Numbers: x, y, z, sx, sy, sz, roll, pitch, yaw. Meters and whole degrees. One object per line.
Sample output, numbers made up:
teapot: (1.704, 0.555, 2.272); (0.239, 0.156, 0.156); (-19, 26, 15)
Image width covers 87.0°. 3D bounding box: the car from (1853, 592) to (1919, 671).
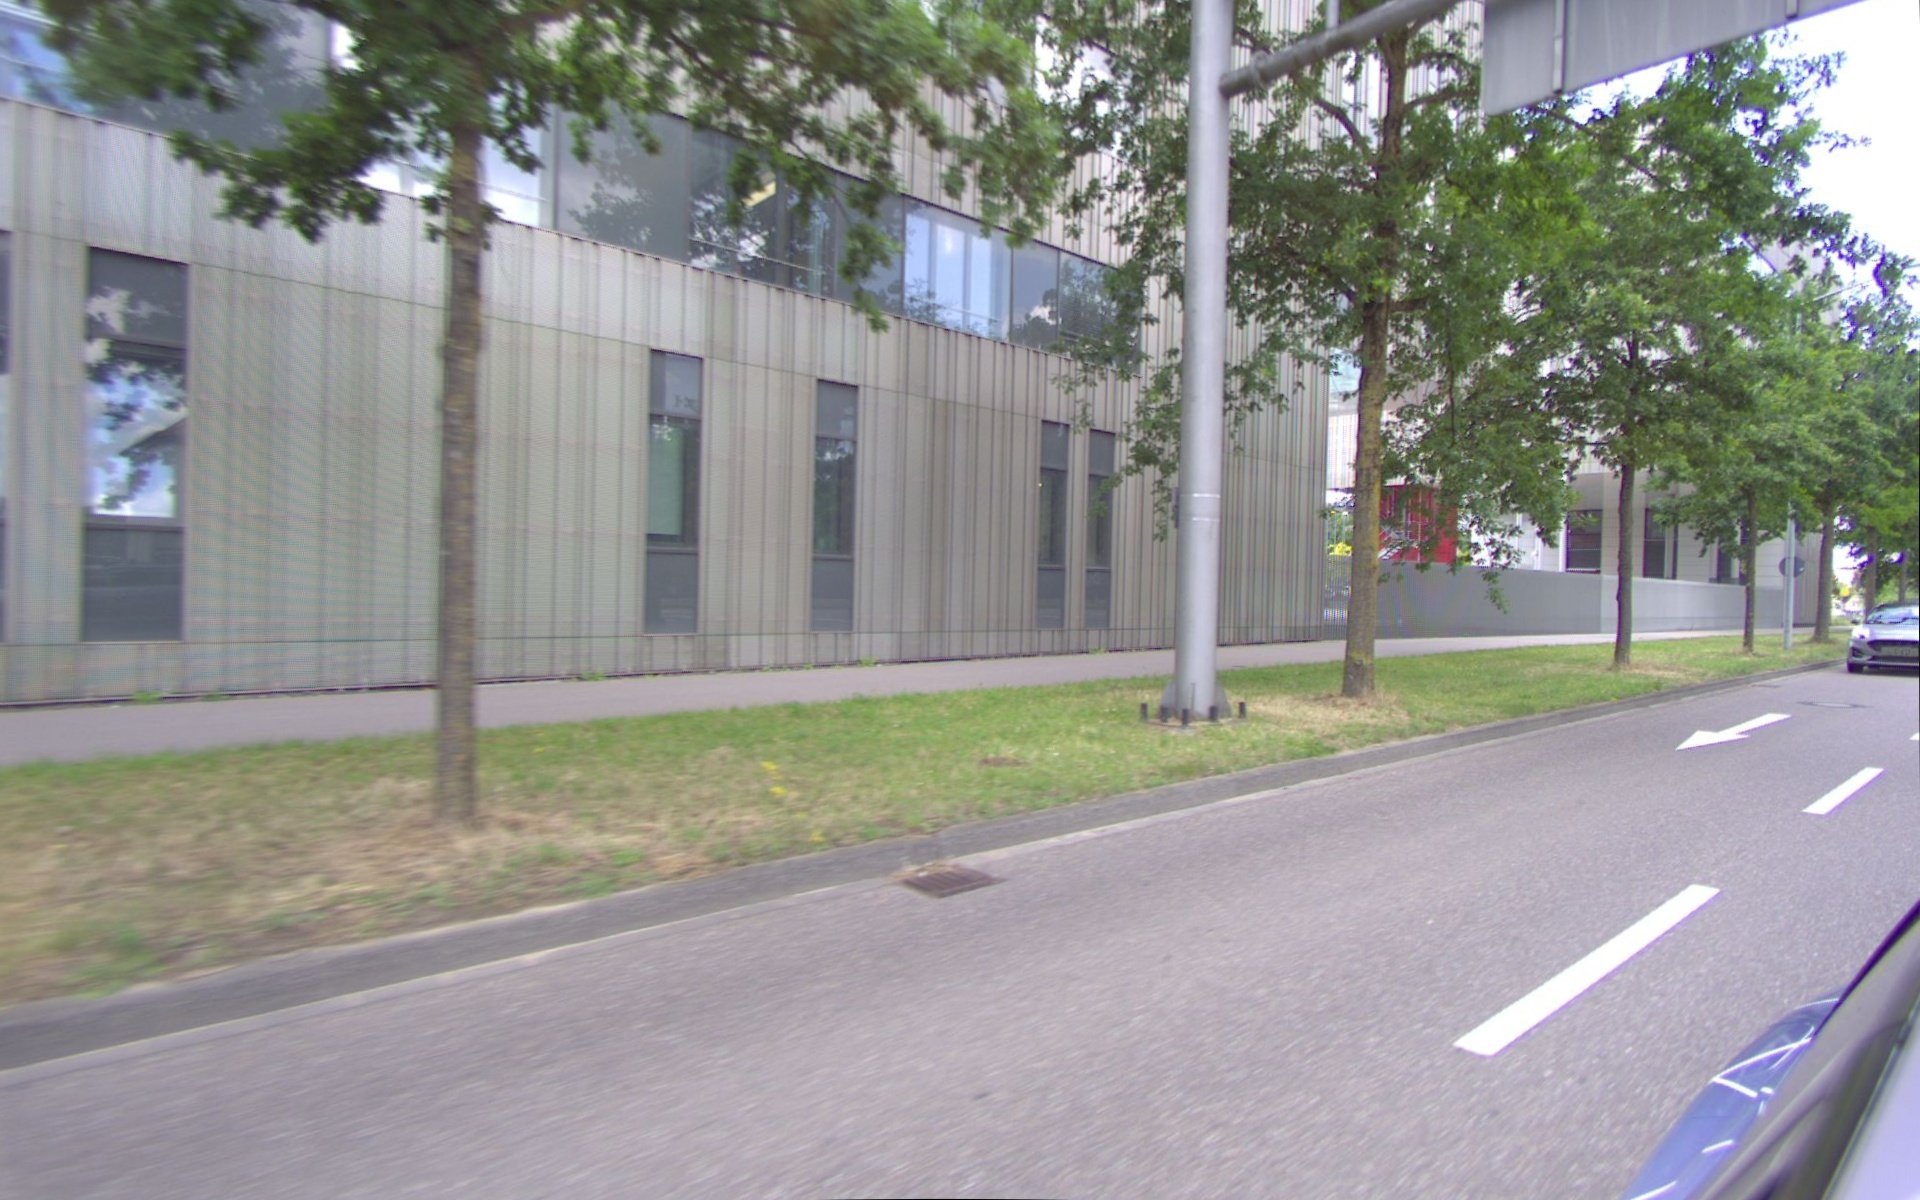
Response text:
car: (20.777, 0.630, 21.790); (3.884, 1.594, 1.822); (0, -1, -41)
